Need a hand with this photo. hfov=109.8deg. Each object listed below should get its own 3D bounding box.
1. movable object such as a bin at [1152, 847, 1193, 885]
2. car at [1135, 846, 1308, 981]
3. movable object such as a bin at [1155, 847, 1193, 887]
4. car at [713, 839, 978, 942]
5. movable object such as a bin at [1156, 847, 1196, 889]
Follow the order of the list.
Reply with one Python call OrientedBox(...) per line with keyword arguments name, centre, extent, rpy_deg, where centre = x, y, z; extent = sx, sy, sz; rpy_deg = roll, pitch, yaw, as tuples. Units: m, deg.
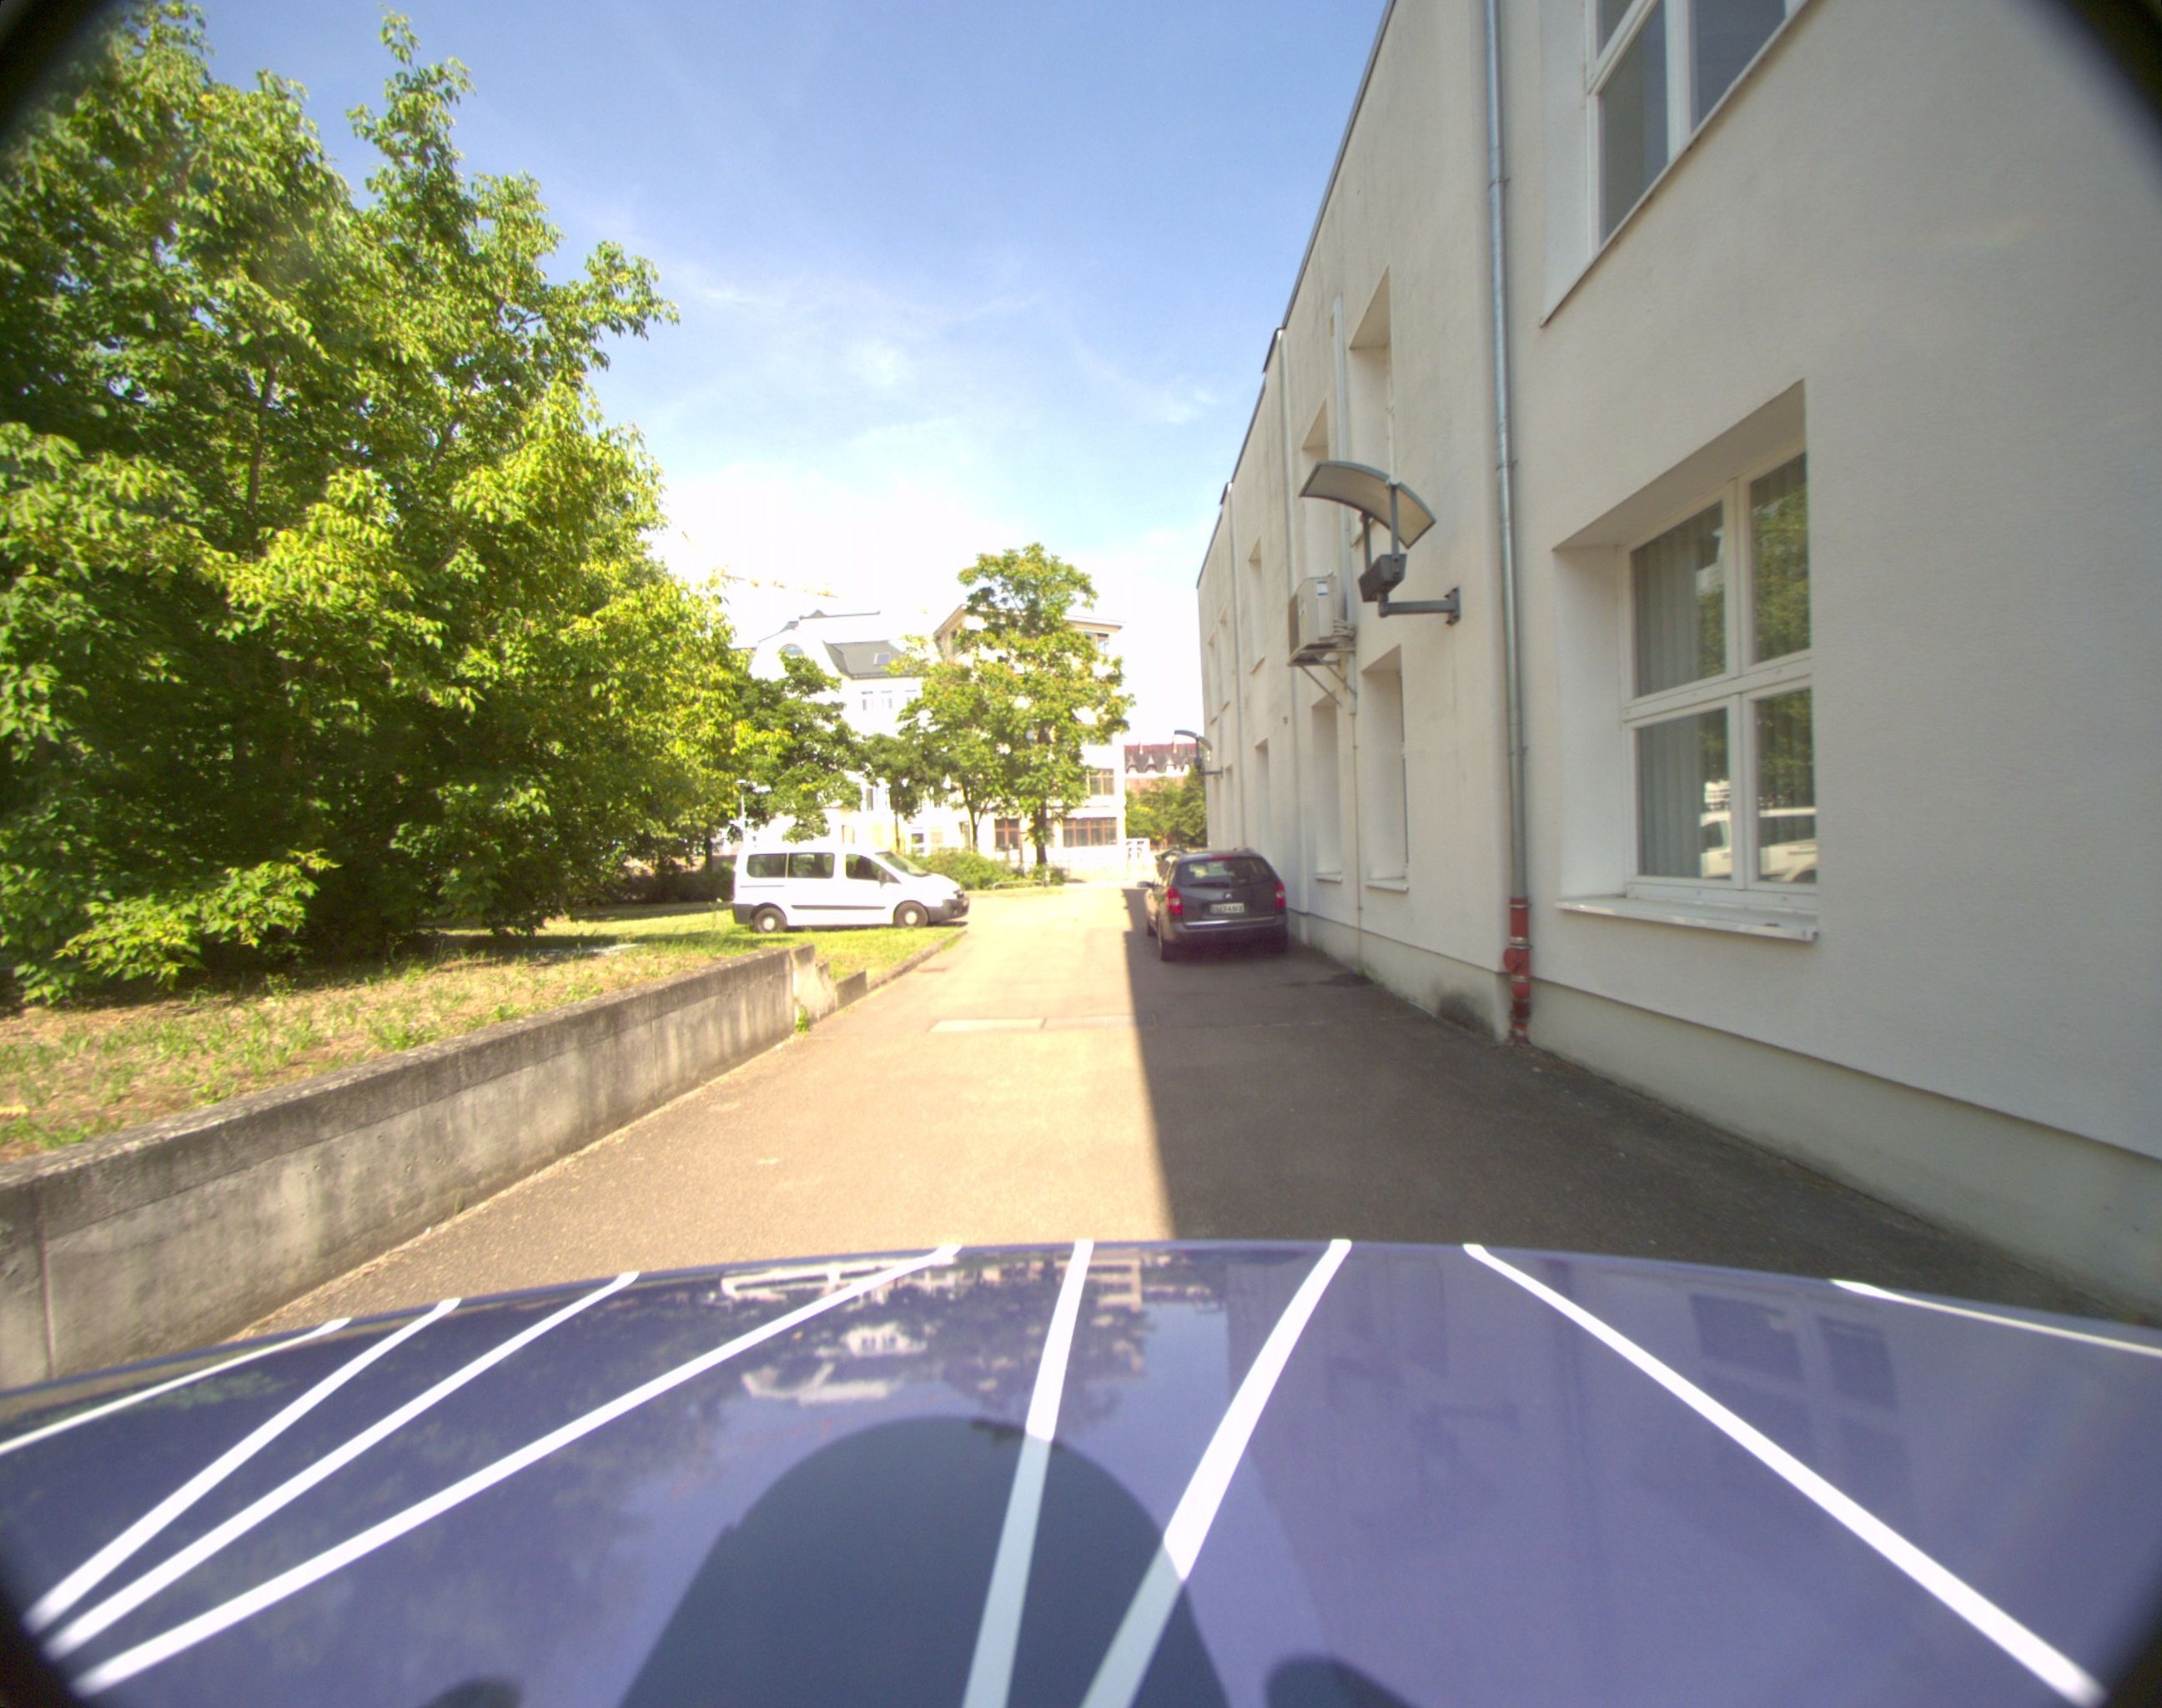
OrientedBox(name="movable object such as a bin", centre=(3.603, 0.475, 30.012), extent=(1.248, 1.423, 1.222), rpy_deg=(-2, 1, -9))
OrientedBox(name="car", centre=(1.905, 0.717, 11.644), extent=(1.841, 1.434, 4.428), rpy_deg=(-5, 2, 2))
OrientedBox(name="movable object such as a bin", centre=(3.481, 0.473, 28.628), extent=(1.247, 1.423, 1.366), rpy_deg=(-2, 1, 2))
OrientedBox(name="car", centre=(-4.983, 0.755, 16.557), extent=(5.035, 1.922, 2.000), rpy_deg=(-2, 0, 3))
OrientedBox(name="movable object such as a bin", centre=(3.377, 0.479, 27.119), extent=(1.247, 1.423, 1.350), rpy_deg=(-2, 1, 2))
